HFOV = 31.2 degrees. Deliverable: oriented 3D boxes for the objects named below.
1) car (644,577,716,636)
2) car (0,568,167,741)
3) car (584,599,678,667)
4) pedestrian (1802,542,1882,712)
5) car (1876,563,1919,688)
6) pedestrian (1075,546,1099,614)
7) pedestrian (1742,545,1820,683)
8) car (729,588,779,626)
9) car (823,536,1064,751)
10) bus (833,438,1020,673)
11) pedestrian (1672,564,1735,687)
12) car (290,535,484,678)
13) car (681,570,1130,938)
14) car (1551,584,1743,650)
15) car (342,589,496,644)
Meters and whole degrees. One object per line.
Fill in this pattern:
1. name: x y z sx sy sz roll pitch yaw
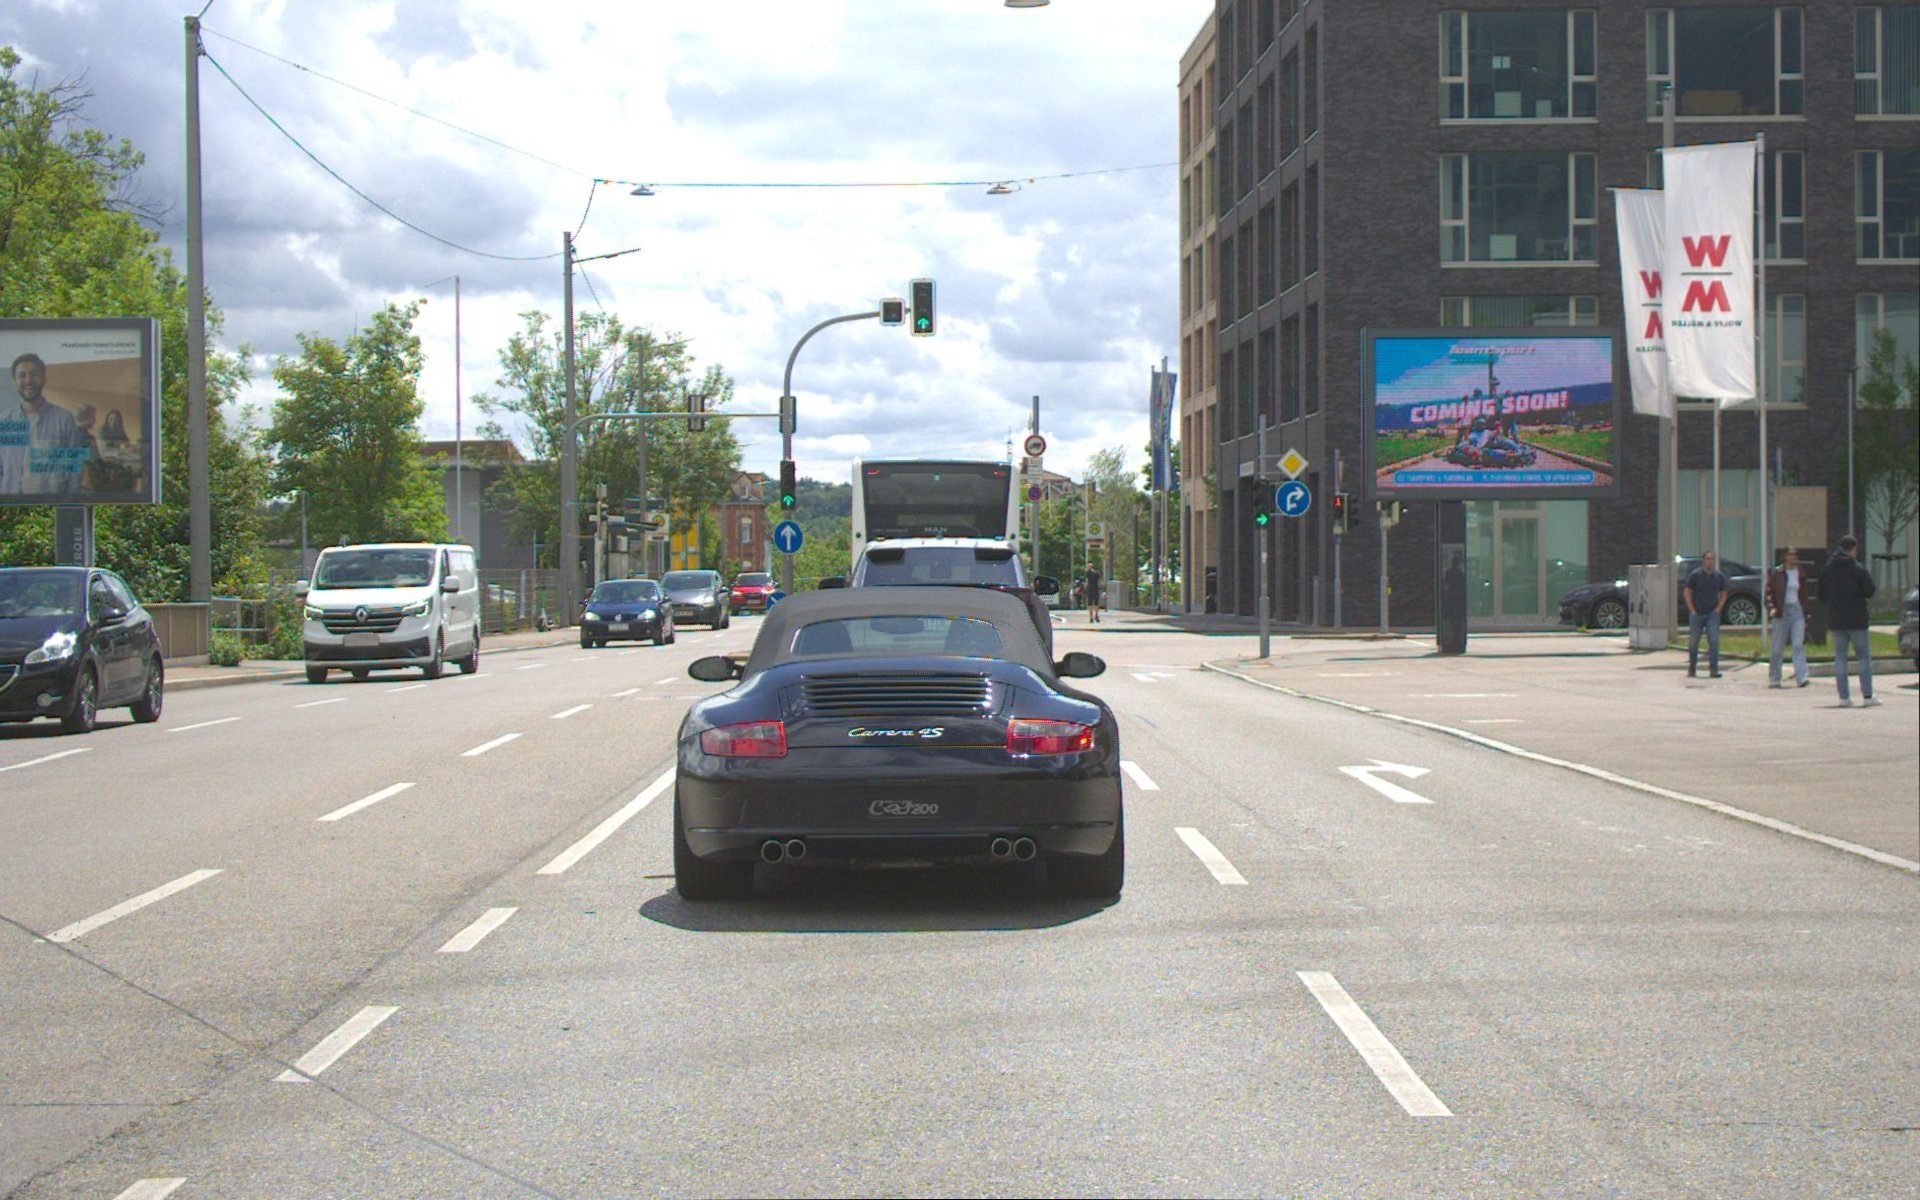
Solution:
1. car: -7.588 0.167 93.428 1.662 1.542 3.803 0 0 0
2. car: -8.230 0.440 30.252 1.628 1.426 4.000 0 0 -1
3. car: -7.067 0.683 74.124 1.662 1.411 3.803 0 0 0
4. pedestrian: 8.867 0.267 34.560 0.681 1.690 0.597 0 0 25
5. car: 13.003 0.183 40.746 3.759 1.436 1.719 -4 0 1
6. pedestrian: 3.736 -0.588 101.143 0.666 2.007 0.769 0 0 -2
7. pedestrian: 10.165 0.167 42.576 0.707 1.690 0.924 0 0 -3
8. car: -7.792 0.243 130.119 1.662 1.411 3.803 0 0 0
9. car: -0.212 0.308 29.592 1.879 1.588 4.230 1 2 -2
10. bus: -0.466 -0.938 56.866 2.689 3.244 12.059 1 3 0
11. pedestrian: 10.162 0.346 46.990 0.670 1.656 0.742 0 0 -2
12. car: -8.185 0.080 49.542 1.901 1.880 5.313 -2 0 -1
13. car: -0.242 0.580 15.345 1.720 1.271 4.088 1 2 -1
14. car: 15.120 0.364 75.784 3.929 1.426 1.474 0 0 0
15. car: -12.644 0.376 80.344 3.511 1.259 1.390 0 0 -9
